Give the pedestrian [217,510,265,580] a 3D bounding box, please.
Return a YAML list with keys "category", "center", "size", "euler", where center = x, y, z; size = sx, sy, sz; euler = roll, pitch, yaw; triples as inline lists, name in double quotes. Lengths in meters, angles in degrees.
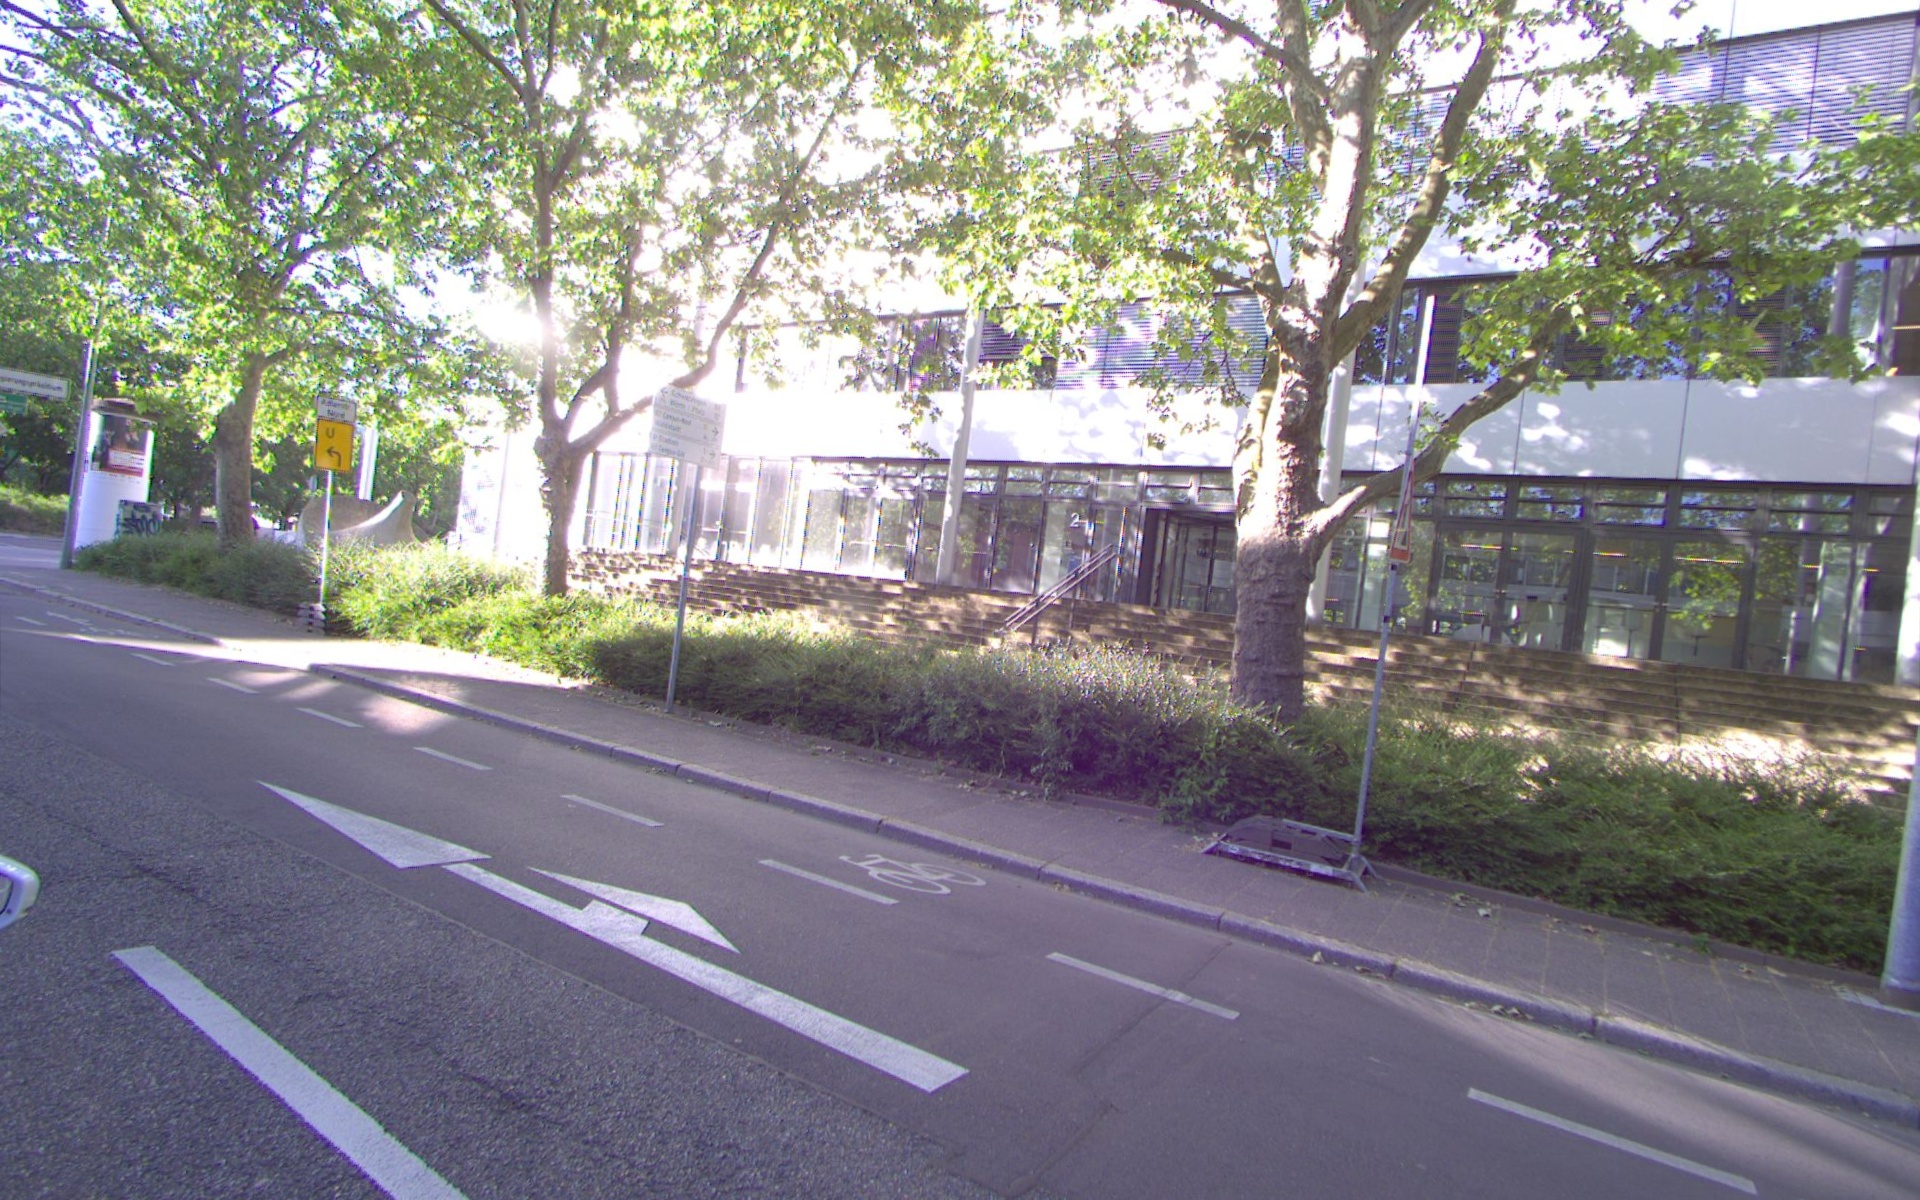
- category: "pedestrian"
  center: [-19.853, -1.525, 27.767]
  size: [0.719, 1.799, 0.735]
  euler: [6, -1, 40]
